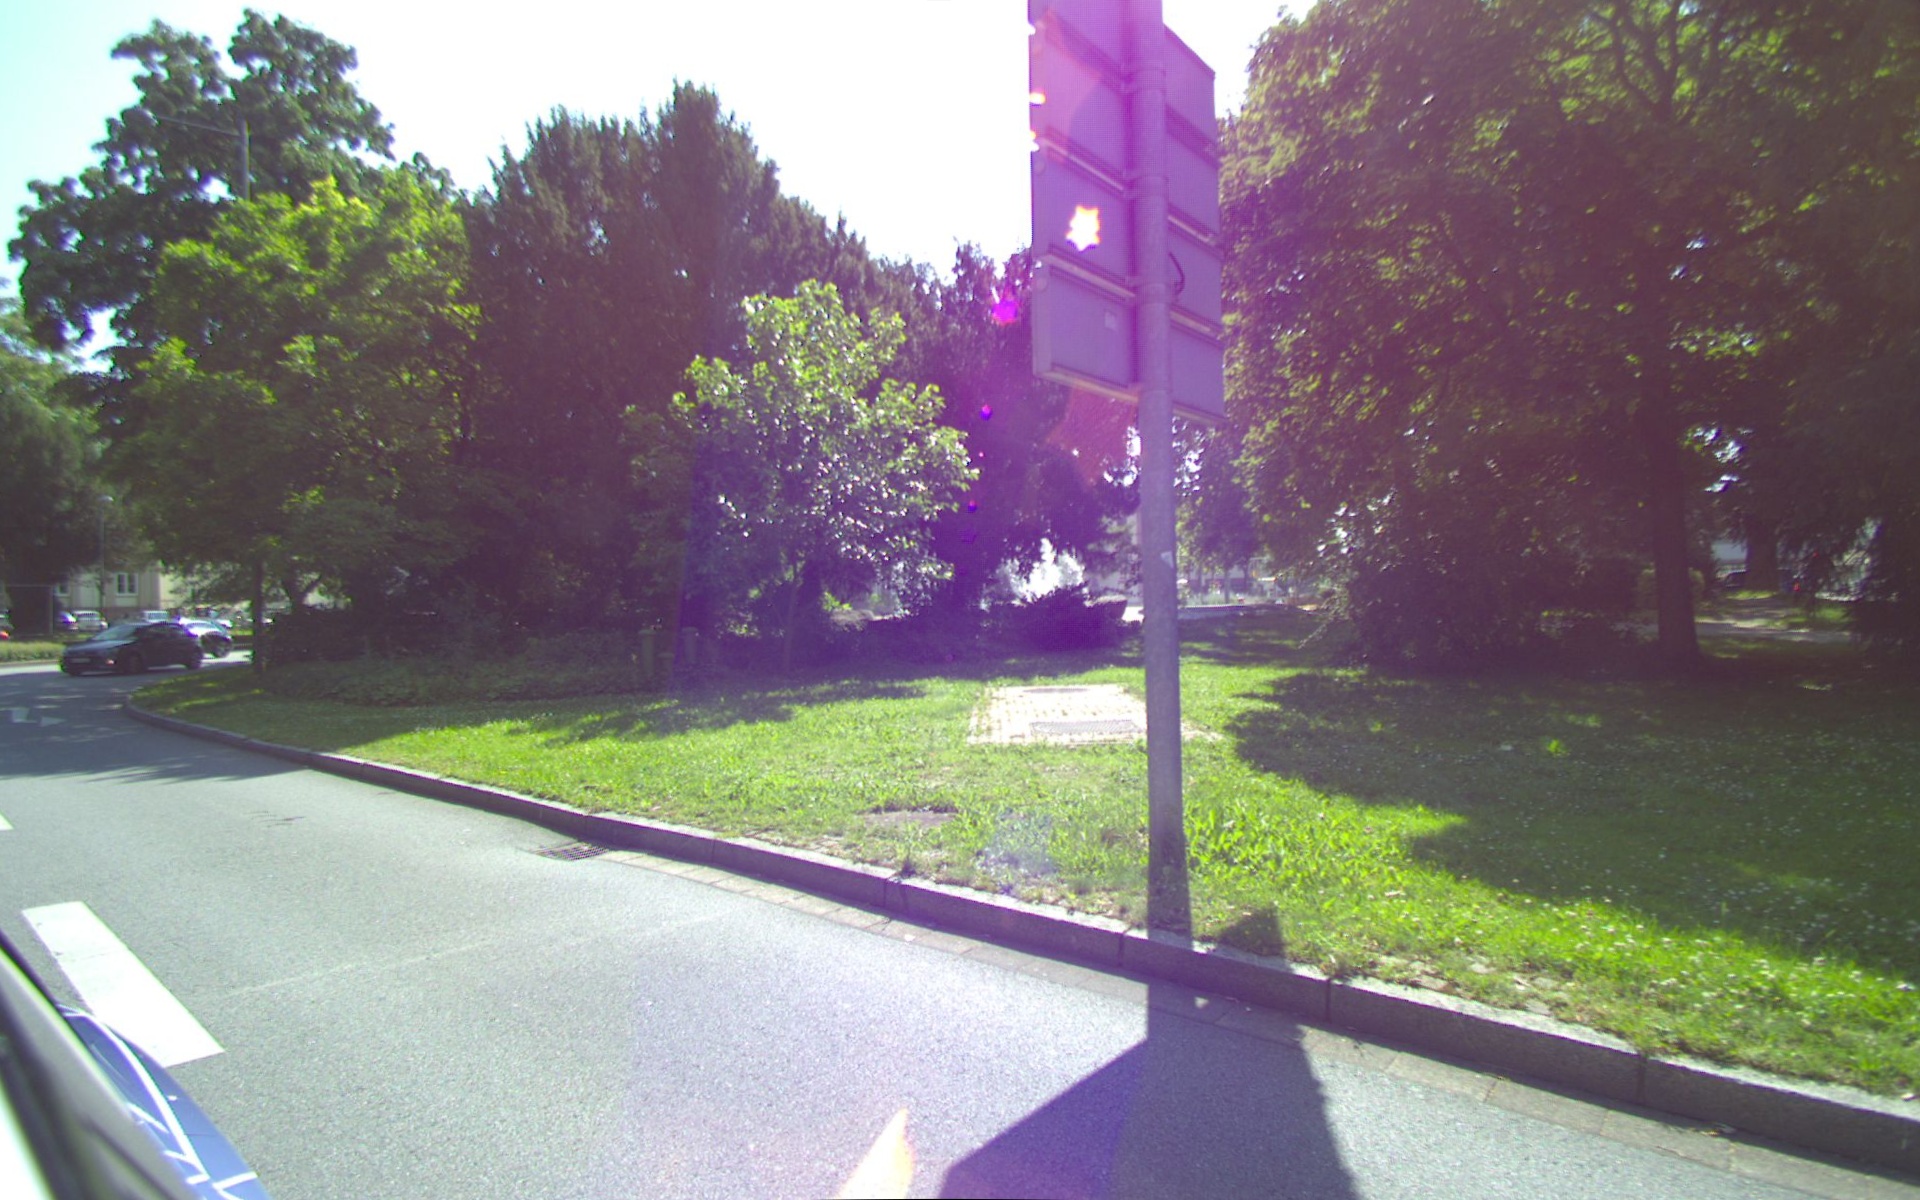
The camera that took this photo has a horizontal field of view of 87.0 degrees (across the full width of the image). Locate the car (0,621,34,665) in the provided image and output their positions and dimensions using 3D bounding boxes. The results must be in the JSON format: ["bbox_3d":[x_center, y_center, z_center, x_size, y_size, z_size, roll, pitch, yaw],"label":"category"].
[{"bbox_3d":[-36.653,1.638,36.637,1.680,1.566,4.369,-2,0,33],"label":"car"}]

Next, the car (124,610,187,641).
[{"bbox_3d":[-45.843,1.467,57.660,3.992,1.674,1.829,-2,-1,36],"label":"car"}]

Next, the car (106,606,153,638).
[{"bbox_3d":[-54.075,1.447,65.842,4.000,2.029,1.826,-2,-1,43],"label":"car"}]

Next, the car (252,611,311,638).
[{"bbox_3d":[-42.738,1.565,63.743,3.992,1.590,1.829,-2,-1,36],"label":"car"}]

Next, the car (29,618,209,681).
[{"bbox_3d":[-24.403,1.388,29.589,1.864,1.697,4.142,1,-1,-1],"label":"car"}]

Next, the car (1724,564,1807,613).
[{"bbox_3d":[39.011,-0.542,49.128,1.922,2.184,4.029,-3,-1,22],"label":"car"}]

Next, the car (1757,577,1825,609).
[{"bbox_3d":[48.586,-0.399,59.268,1.838,1.748,4.029,-3,-1,22],"label":"car"}]

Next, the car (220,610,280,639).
[{"bbox_3d":[-43.318,1.501,61.707,3.992,1.674,1.829,-2,-1,36],"label":"car"}]

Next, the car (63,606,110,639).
[{"bbox_3d":[-55.559,1.438,64.351,4.000,2.029,1.826,-2,-1,43],"label":"car"}]

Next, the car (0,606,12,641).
[{"bbox_3d":[-57.399,1.392,59.729,4.000,2.029,1.826,-2,-1,43],"label":"car"}]

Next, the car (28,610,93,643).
[{"bbox_3d":[-48.615,1.447,54.691,3.992,1.674,1.829,-2,-1,36],"label":"car"}]
